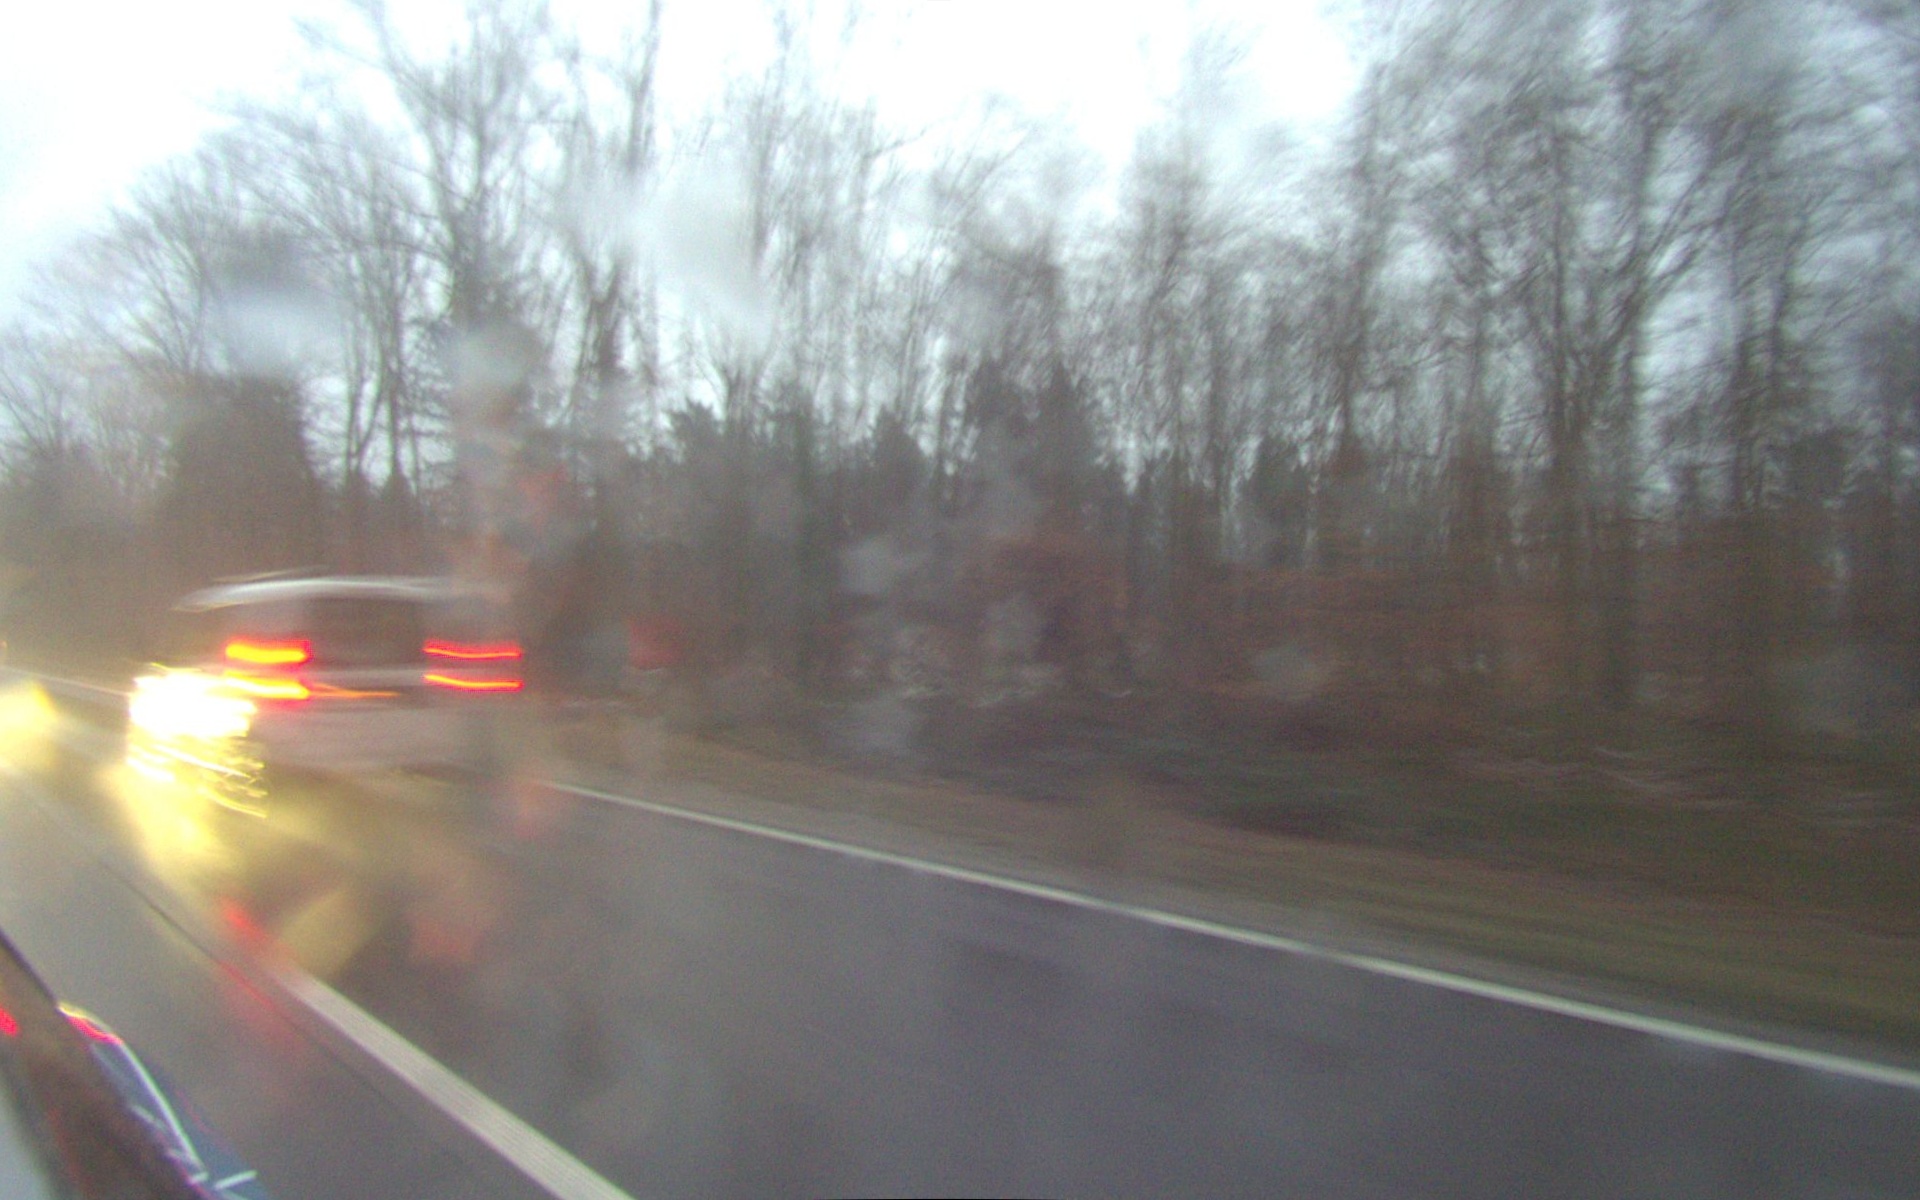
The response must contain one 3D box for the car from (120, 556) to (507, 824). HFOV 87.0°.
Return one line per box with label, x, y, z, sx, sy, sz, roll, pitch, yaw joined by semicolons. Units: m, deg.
car;-6.086;0.705;9.309;4.423;1.896;1.778;-1;-3;41
